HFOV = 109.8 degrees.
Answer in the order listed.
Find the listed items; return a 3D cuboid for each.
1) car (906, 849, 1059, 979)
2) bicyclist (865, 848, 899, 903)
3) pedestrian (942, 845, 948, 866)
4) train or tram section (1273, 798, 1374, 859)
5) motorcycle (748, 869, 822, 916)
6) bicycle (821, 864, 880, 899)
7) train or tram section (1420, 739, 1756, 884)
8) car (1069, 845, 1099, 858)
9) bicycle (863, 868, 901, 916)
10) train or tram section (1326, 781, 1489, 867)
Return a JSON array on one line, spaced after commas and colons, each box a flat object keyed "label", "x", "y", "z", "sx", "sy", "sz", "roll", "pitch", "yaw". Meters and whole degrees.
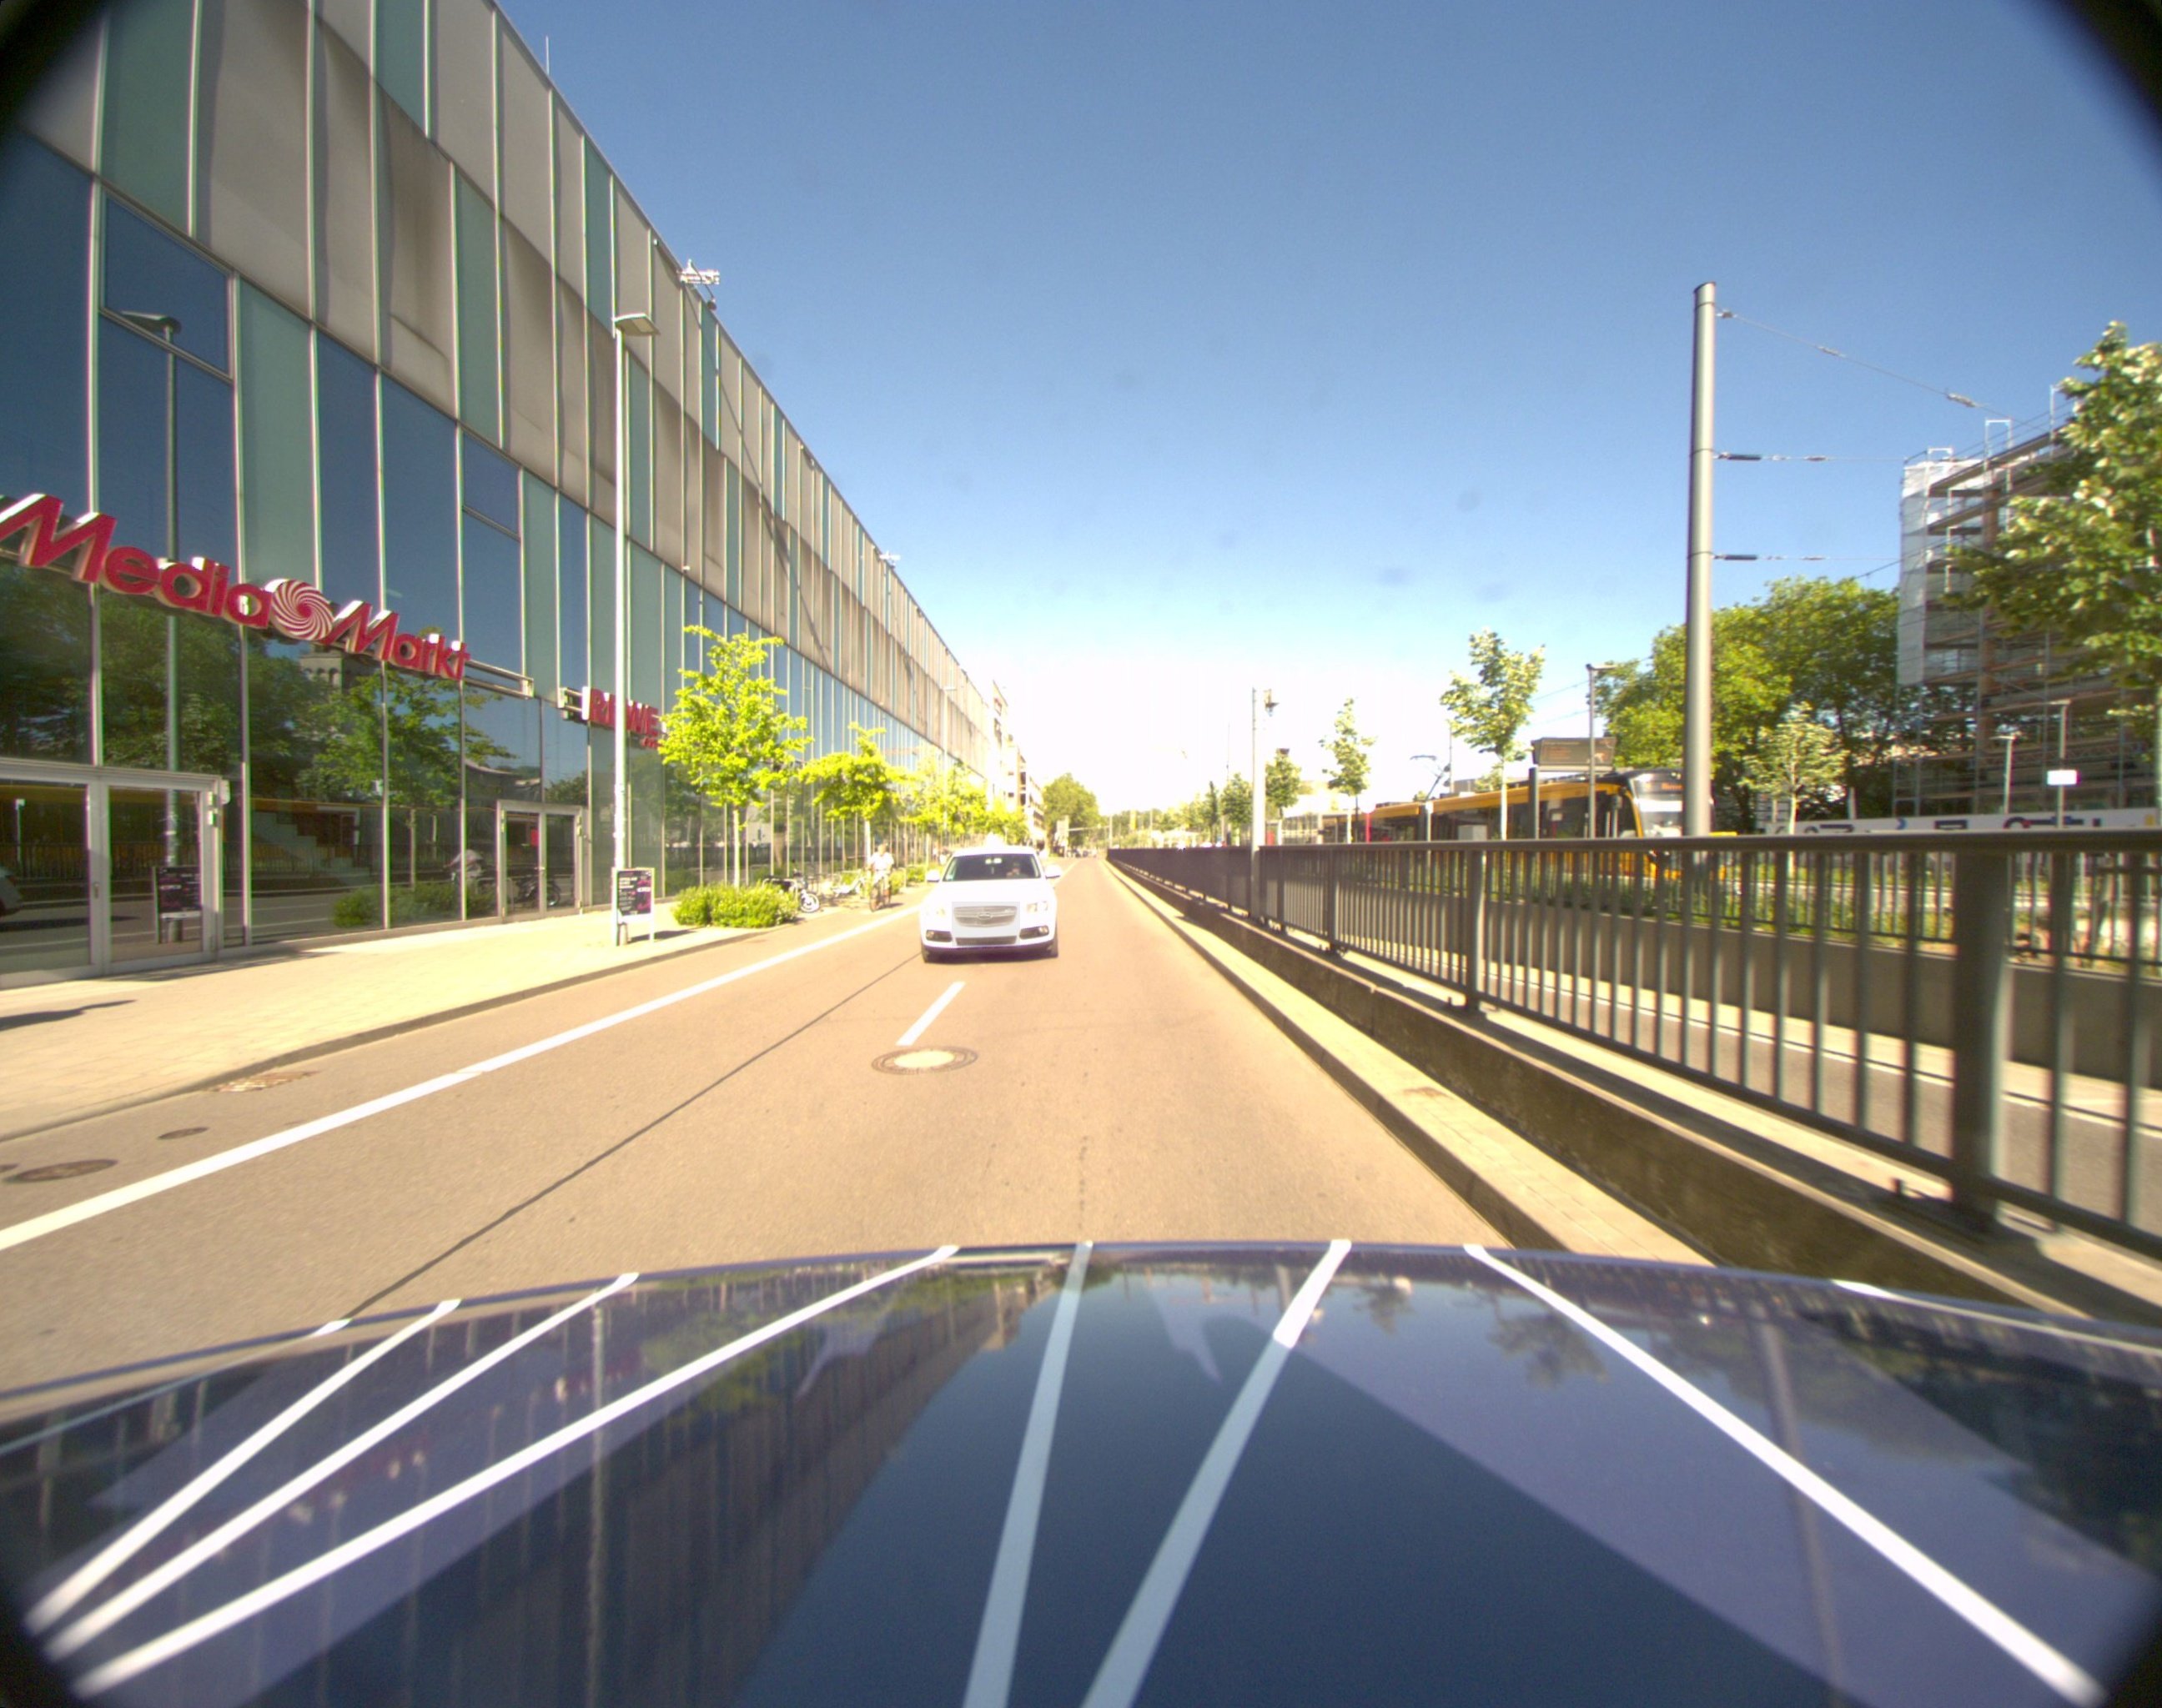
[{"label": "car", "x": -1.335, "y": 0.760, "z": 11.863, "sx": 1.934, "sy": 1.624, "sz": 3.999, "roll": -1, "pitch": 1, "yaw": -2}, {"label": "bicyclist", "x": -5.387, "y": 0.571, "z": 20.597, "sx": 0.755, "sy": 1.454, "sz": 0.587, "roll": -1, "pitch": 2, "yaw": -4}, {"label": "pedestrian", "x": -11.332, "y": 0.128, "z": 63.290, "sx": 0.450, "sy": 1.681, "sz": 0.345, "roll": -1, "pitch": 1, "yaw": 0}, {"label": "train or tram section", "x": 15.927, "y": -1.613, "z": 51.172, "sx": 2.822, "sy": 3.618, "sz": 12.787, "roll": 0, "pitch": 1, "yaw": 1}, {"label": "motorcycle", "x": -7.641, "y": 0.968, "z": 19.619, "sx": 1.876, "sy": 1.076, "sz": 0.645, "roll": 2, "pitch": 2, "yaw": 24}, {"label": "bicycle", "x": -7.326, "y": 0.888, "z": 24.217, "sx": 1.741, "sy": 1.056, "sz": 0.467, "roll": 2, "pitch": 0, "yaw": -15}, {"label": "train or tram section", "x": 15.613, "y": -1.174, "z": 25.539, "sx": 2.822, "sy": 3.618, "sz": 12.787, "roll": 0, "pitch": 1, "yaw": 1}, {"label": "car", "x": 0.376, "y": -0.335, "z": 100.764, "sx": 3.802, "sy": 1.527, "sz": 1.785, "roll": -1, "pitch": 1, "yaw": -3}, {"label": "bicycle", "x": -5.381, "y": 0.993, "z": 20.630, "sx": 0.610, "sy": 1.144, "sz": 1.986, "roll": -2, "pitch": 2, "yaw": -4}, {"label": "train or tram section", "x": 15.763, "y": -1.374, "z": 38.341, "sx": 2.822, "sy": 3.618, "sz": 12.787, "roll": 0, "pitch": 1, "yaw": 1}]
